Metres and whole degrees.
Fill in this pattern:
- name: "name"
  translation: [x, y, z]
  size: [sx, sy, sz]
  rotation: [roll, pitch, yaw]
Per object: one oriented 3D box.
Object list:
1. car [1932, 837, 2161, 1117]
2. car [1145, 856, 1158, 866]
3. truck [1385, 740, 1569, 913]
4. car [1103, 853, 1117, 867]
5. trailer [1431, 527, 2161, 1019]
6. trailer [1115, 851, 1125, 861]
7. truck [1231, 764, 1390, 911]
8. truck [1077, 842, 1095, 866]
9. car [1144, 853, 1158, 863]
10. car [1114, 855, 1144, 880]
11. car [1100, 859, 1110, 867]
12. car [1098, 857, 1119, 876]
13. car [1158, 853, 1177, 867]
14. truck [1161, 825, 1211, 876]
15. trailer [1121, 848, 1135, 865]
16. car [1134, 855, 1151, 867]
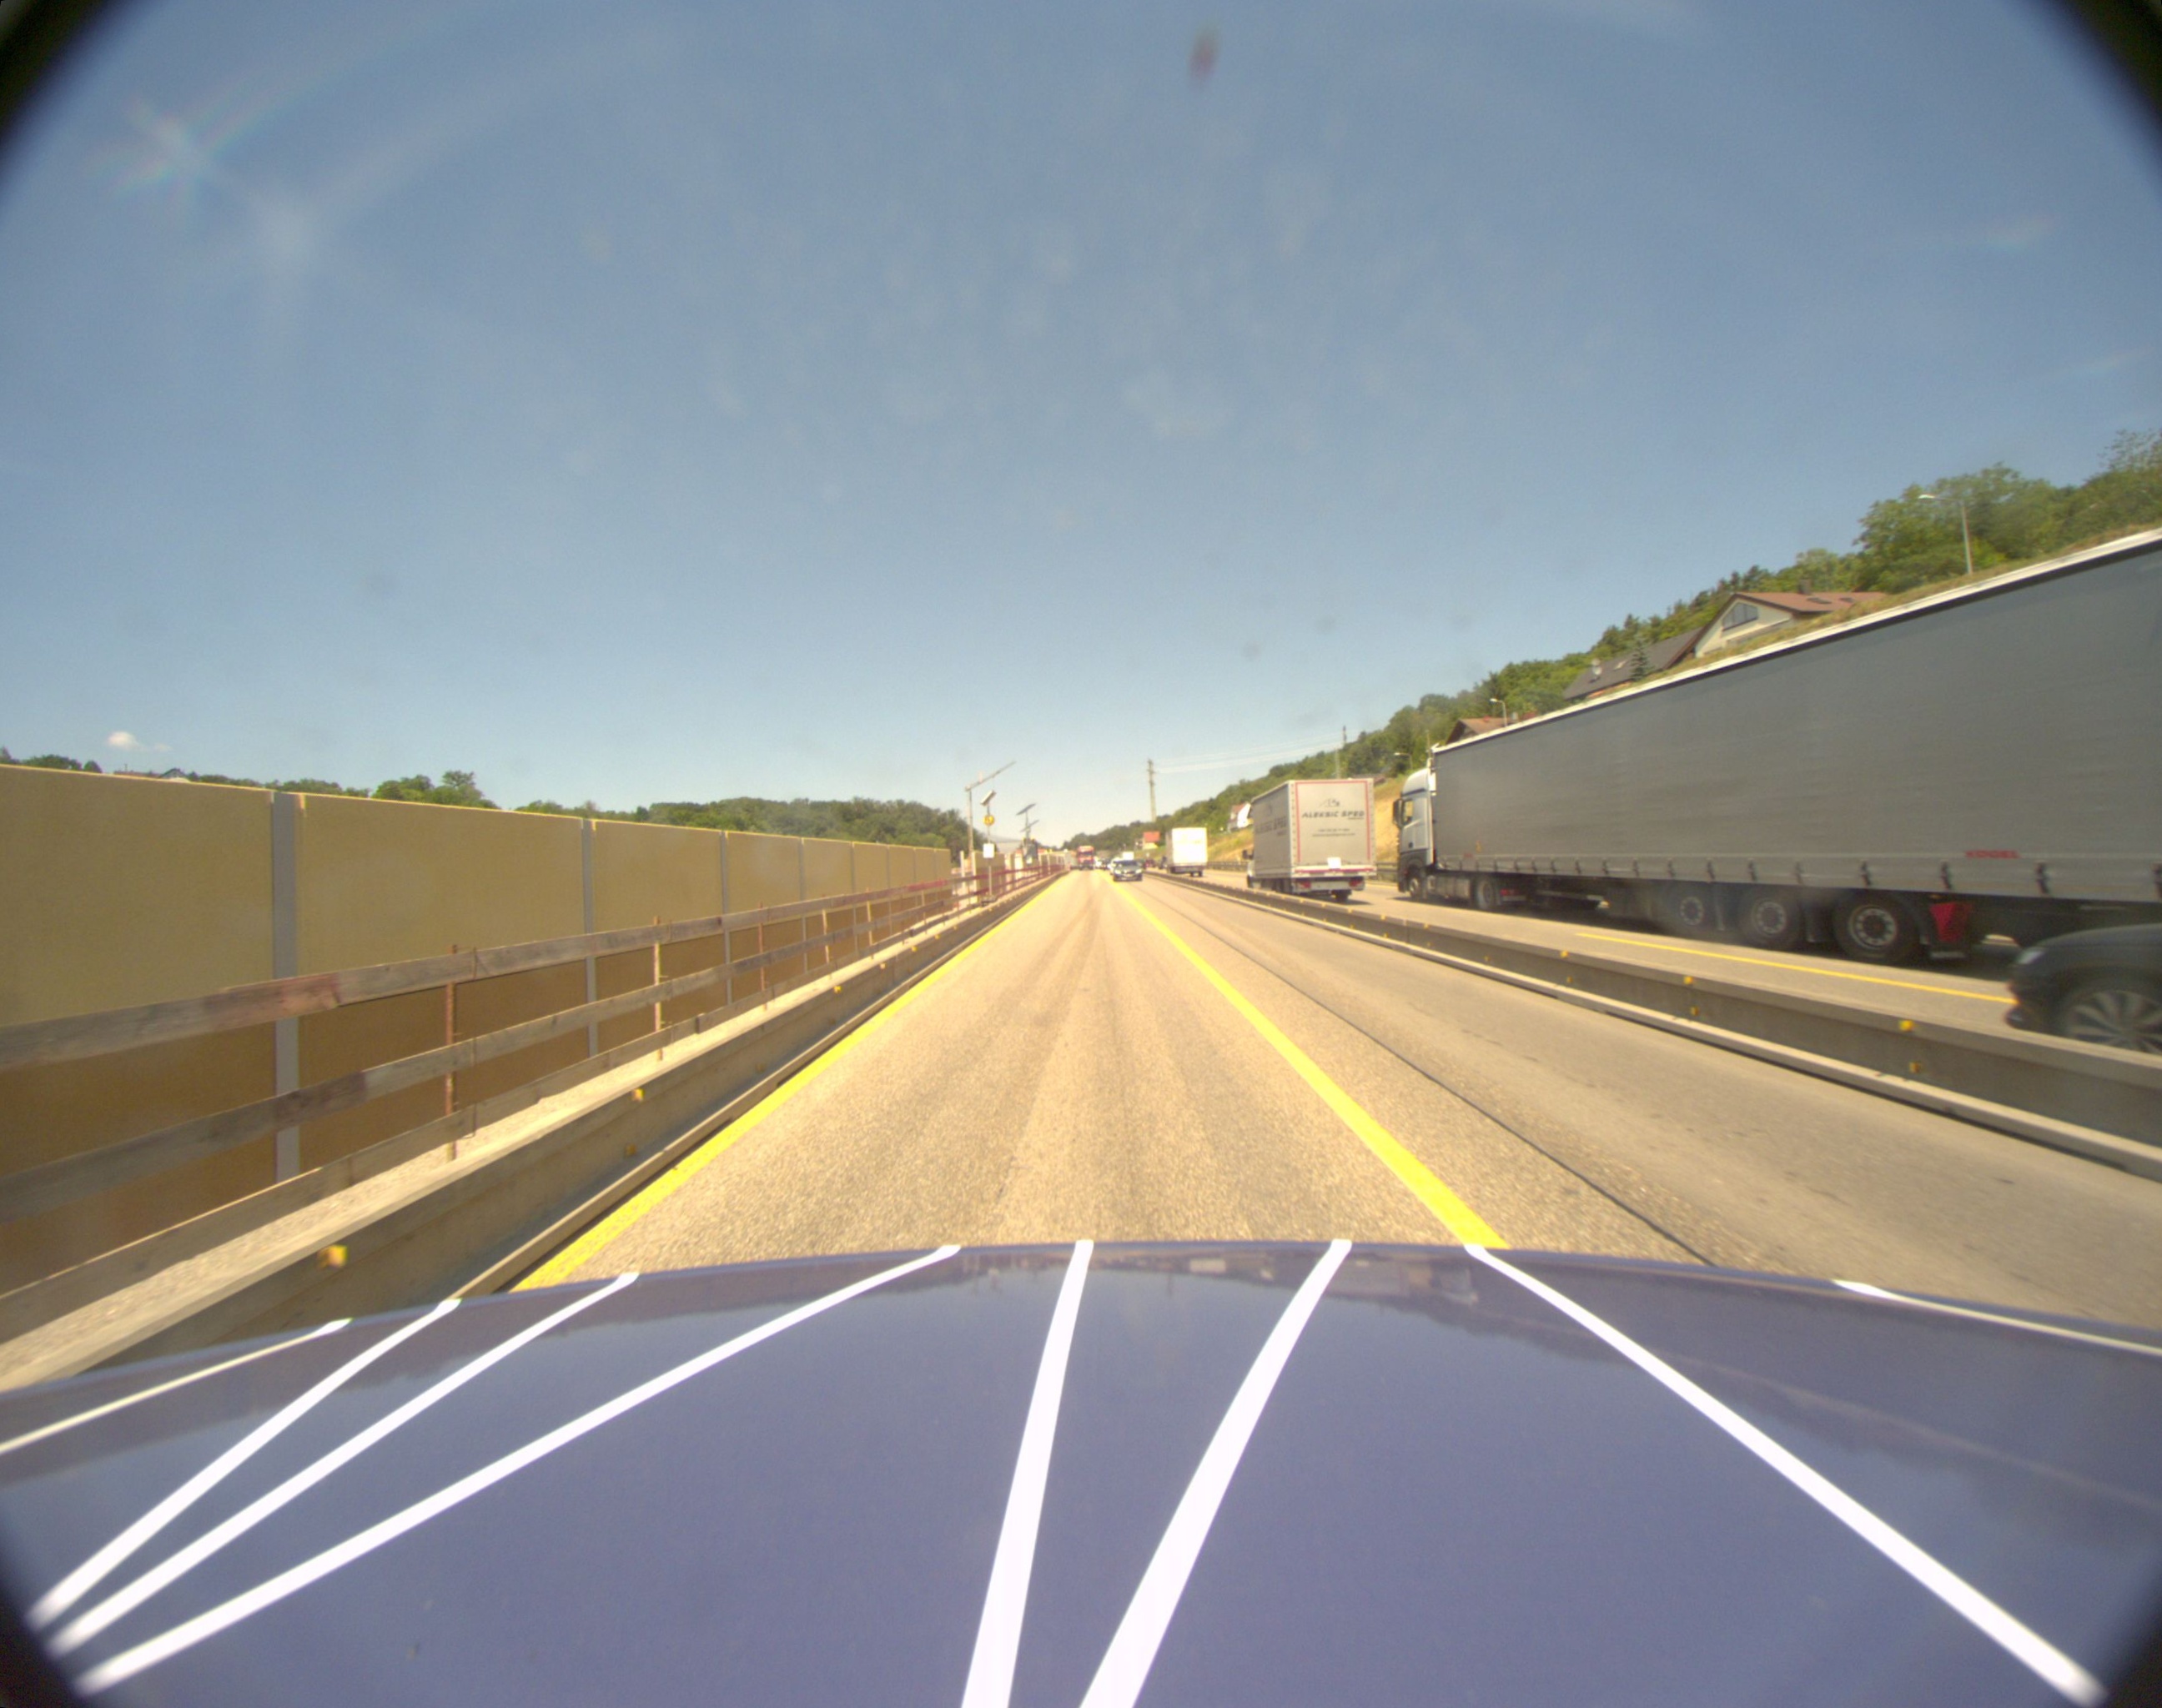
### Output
- name: "car"
  translation: [6.657, 0.648, 2.776]
  size: [1.784, 1.449, 4.720]
  rotation: [-3, 0, 0]
- name: "car"
  translation: [11.324, 1.125, 122.446]
  size: [1.780, 1.485, 4.337]
  rotation: [-2, -1, 1]
- name: "truck"
  translation: [10.288, -0.655, 20.204]
  size: [2.705, 4.026, 3.955]
  rotation: [-3, 0, 0]
- name: "car"
  translation: [3.963, 0.854, 105.535]
  size: [1.780, 1.727, 4.337]
  rotation: [-2, -1, 1]
- name: "trailer"
  translation: [10.216, -0.677, 12.294]
  size: [2.705, 4.001, 13.702]
  rotation: [-3, 0, 0]
- name: "trailer"
  translation: [12.774, 0.747, 249.162]
  size: [2.619, 2.983, 6.371]
  rotation: [-2, -1, 1]
- name: "truck"
  translation: [6.734, -0.406, 23.566]
  size: [2.596, 3.736, 7.358]
  rotation: [-3, 0, 0]
- name: "truck"
  translation: [0.888, 0.034, 128.956]
  size: [2.605, 3.703, 10.538]
  rotation: [-2, -1, 1]
- name: "car"
  translation: [11.307, 0.598, 123.101]
  size: [1.689, 1.576, 5.126]
  rotation: [-3, 0, 1]
- name: "car"
  translation: [3.116, 0.899, 49.897]
  size: [1.780, 1.447, 4.337]
  rotation: [-2, -1, 1]
- name: "car"
  translation: [4.662, 1.732, 147.034]
  size: [1.780, 1.485, 4.337]
  rotation: [-2, -1, 1]
- name: "car"
  translation: [2.541, 1.185, 71.294]
  size: [1.780, 1.682, 4.337]
  rotation: [-2, -1, 1]
- name: "car"
  translation: [10.885, 0.710, 95.927]
  size: [1.858, 1.662, 4.668]
  rotation: [-2, 0, 0]
- name: "truck"
  translation: [7.494, -0.213, 54.851]
  size: [2.544, 3.354, 7.038]
  rotation: [-3, 0, 1]
- name: "trailer"
  translation: [12.450, 0.678, 201.912]
  size: [2.793, 4.157, 13.980]
  rotation: [-2, 0, 0]
- name: "car"
  translation: [8.223, 0.943, 101.746]
  size: [1.801, 1.419, 4.950]
  rotation: [-2, 0, 0]
